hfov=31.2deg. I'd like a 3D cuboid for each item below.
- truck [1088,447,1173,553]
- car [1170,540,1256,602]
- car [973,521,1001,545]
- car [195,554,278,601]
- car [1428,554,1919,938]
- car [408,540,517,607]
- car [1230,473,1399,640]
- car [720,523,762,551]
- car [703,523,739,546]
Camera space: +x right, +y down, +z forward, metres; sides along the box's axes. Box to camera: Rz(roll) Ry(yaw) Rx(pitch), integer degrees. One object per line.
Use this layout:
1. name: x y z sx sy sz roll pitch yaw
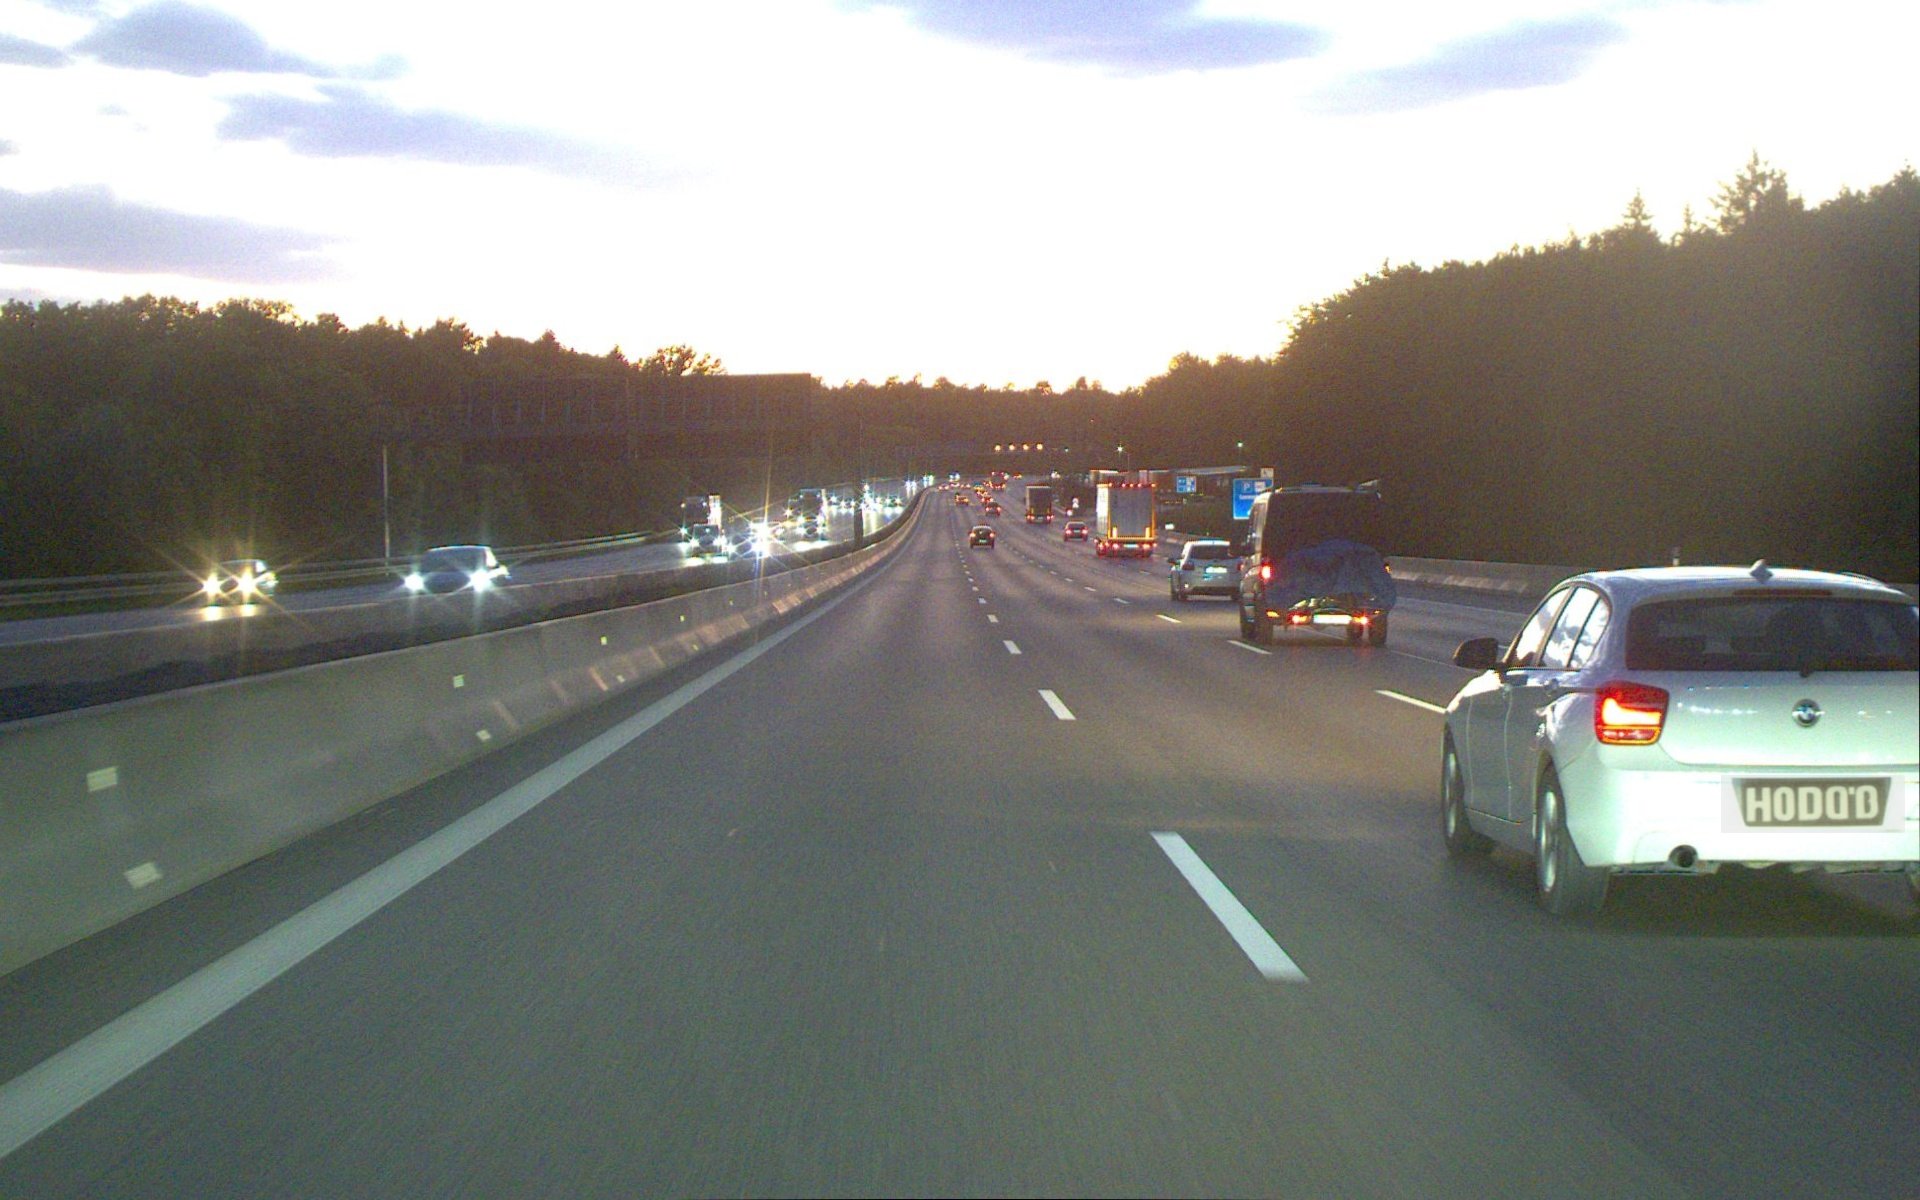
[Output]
1. truck: 9.610 -5.614 195.993 4.149 5.836 14.297 0 1 0
2. car: 6.353 -0.748 86.680 2.008 1.533 4.000 0 1 2
3. car: 1.836 -4.550 233.383 1.836 1.565 4.000 0 1 2
4. car: -22.818 -0.728 108.517 1.836 1.433 4.000 0 1 -1
5. car: 3.261 0.537 14.844 1.859 1.437 3.721 1 1 -2
6. car: -10.911 -0.607 75.645 1.836 1.433 4.000 0 1 0
7. car: 5.376 -0.685 52.785 2.166 2.410 5.564 0 1 2
8. car: -11.502 -3.331 180.859 1.836 1.433 4.000 0 1 2
9. car: -14.840 -4.067 213.459 1.836 1.433 4.000 0 1 2
